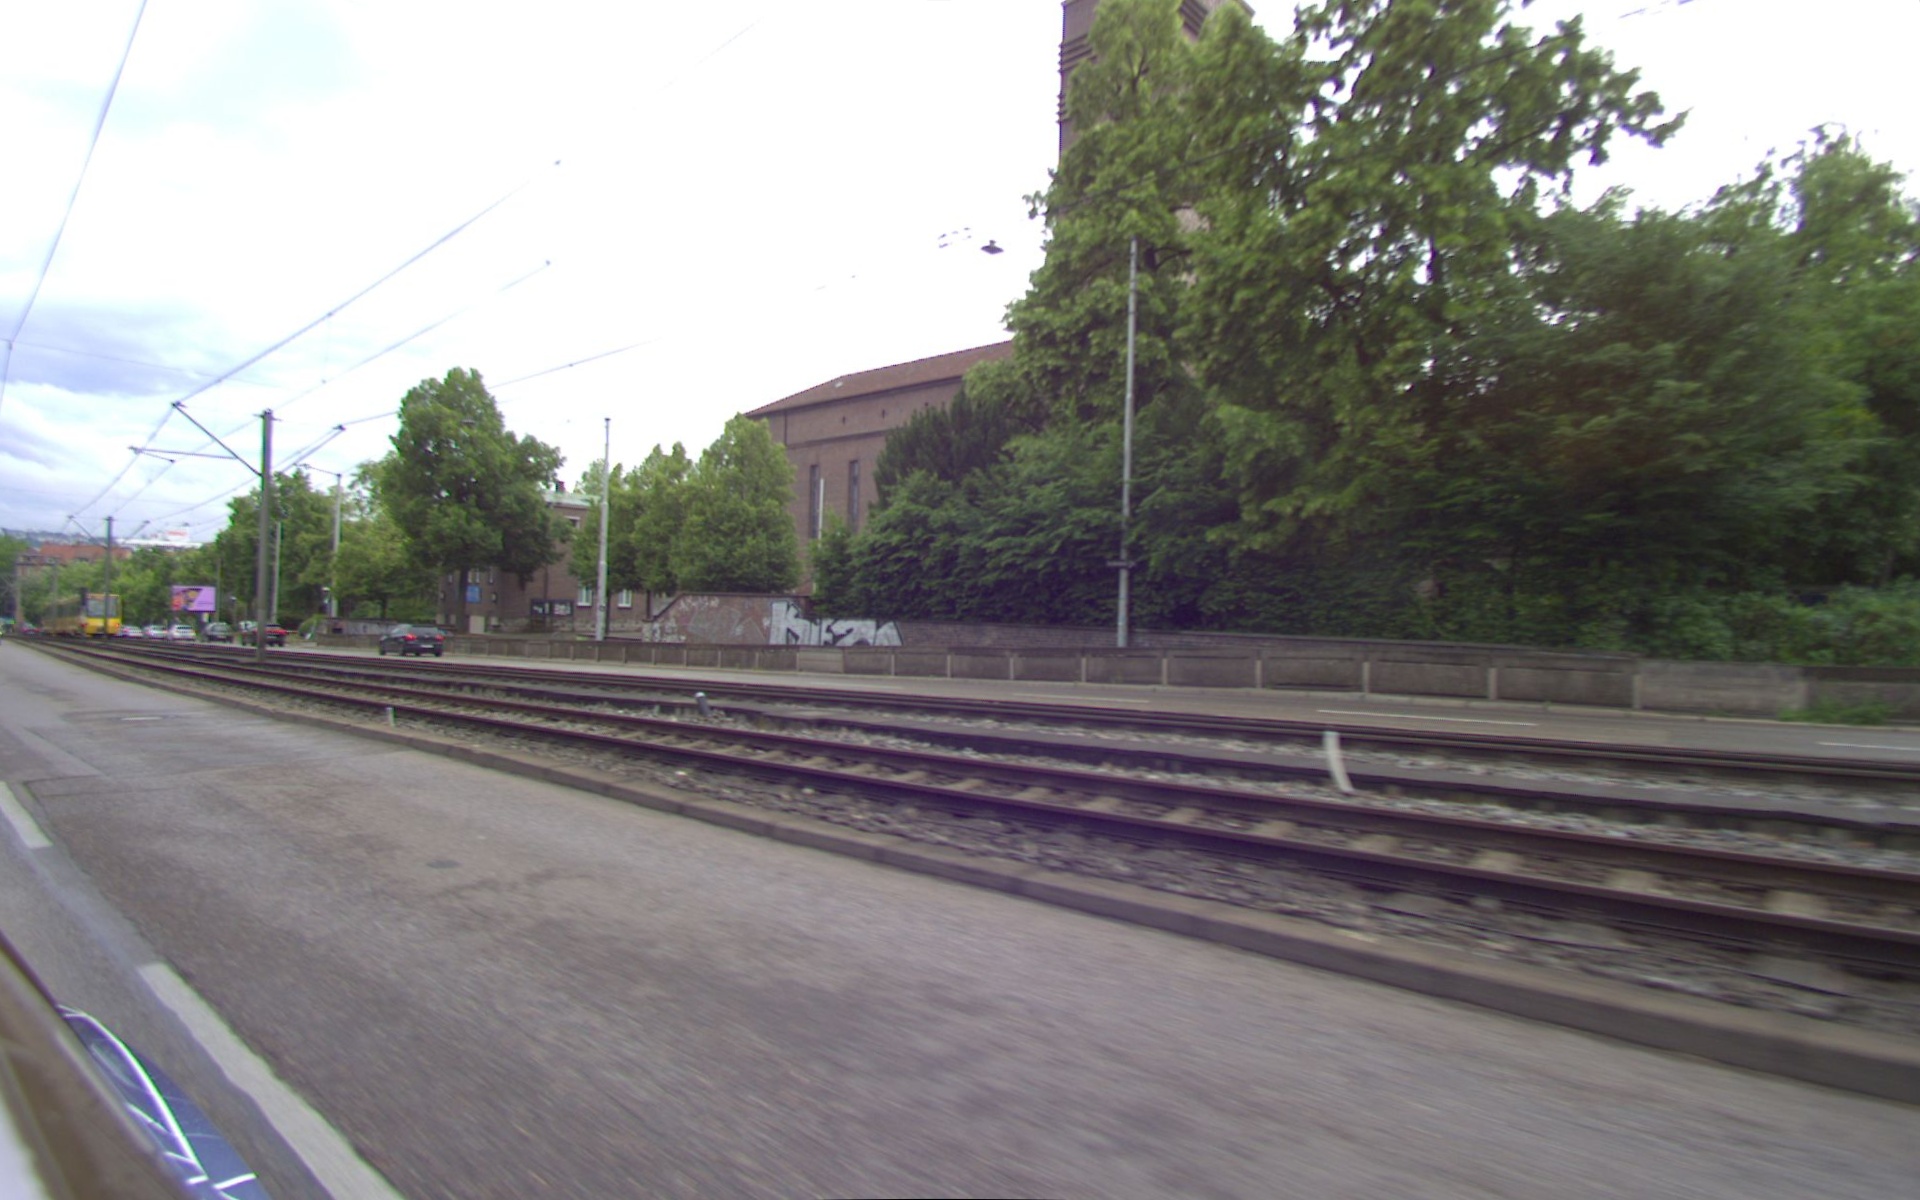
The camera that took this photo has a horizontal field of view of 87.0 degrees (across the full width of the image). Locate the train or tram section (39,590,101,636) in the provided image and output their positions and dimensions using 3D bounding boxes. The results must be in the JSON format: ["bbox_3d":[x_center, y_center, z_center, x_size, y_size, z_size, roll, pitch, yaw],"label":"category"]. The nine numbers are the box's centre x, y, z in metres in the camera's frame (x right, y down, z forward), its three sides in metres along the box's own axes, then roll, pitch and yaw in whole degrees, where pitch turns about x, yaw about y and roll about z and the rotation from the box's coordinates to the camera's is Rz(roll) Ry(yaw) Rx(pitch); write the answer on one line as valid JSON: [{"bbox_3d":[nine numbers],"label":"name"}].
[{"bbox_3d":[-86.215,1.412,97.836,20.032,4.006,2.796,-2,-3,44],"label":"train or tram section"}]

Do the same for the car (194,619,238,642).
[{"bbox_3d":[-58.128,2.378,79.031,4.412,1.656,1.971,-2,-4,43],"label":"car"}]

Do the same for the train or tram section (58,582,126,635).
[{"bbox_3d":[-73.023,0.895,84.941,17.883,4.006,2.796,-2,-3,45],"label":"train or tram section"}]

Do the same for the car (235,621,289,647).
[{"bbox_3d":[-46.381,2.261,67.199,4.524,1.656,1.972,-2,-4,43],"label":"car"}]

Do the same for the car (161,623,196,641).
[{"bbox_3d":[-70.319,2.912,91.034,3.985,1.479,1.728,-2,-6,43],"label":"car"}]

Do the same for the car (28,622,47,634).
[{"bbox_3d":[-132.102,3.997,144.888,4.342,1.650,1.668,-2,-3,44],"label":"car"}]

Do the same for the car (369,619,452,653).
[{"bbox_3d":[-25.135,1.630,46.215,4.320,1.452,1.944,-1,-4,42],"label":"car"}]
